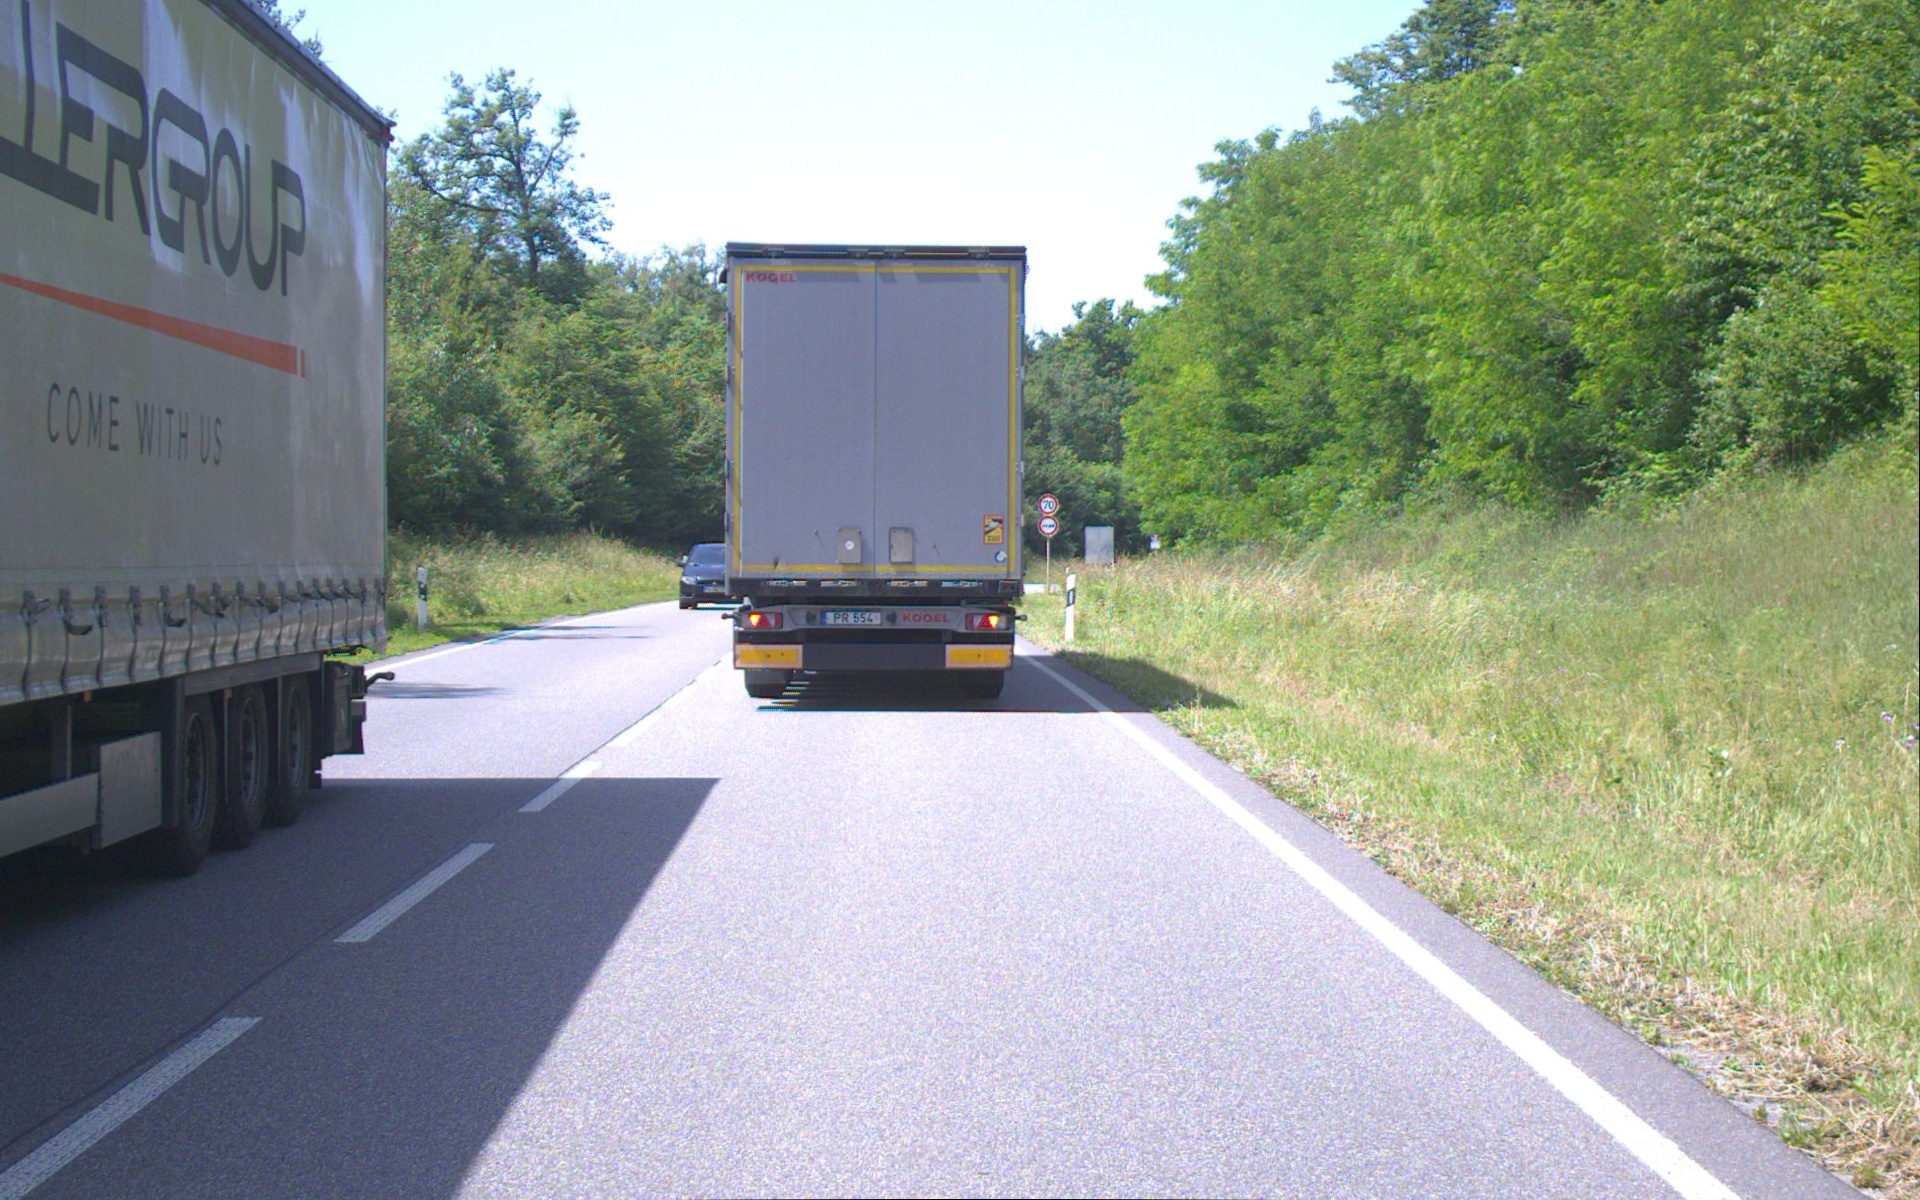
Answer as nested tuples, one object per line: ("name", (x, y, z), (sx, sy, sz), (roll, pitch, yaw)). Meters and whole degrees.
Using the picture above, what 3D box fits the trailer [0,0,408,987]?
("trailer", (-4.666, -0.939, 14.202), (2.941, 4.238, 13.621), (0, 1, -2))

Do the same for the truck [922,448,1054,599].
("truck", (0.903, -2.357, 107.467), (3.793, 4.358, 14.920), (1, 1, 1))

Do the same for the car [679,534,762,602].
("car", (-5.500, -0.756, 79.259), (1.660, 1.490, 3.805), (-1, 1, 0))

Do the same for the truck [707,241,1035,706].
("truck", (-0.894, -1.184, 35.234), (2.761, 3.933, 12.199), (0, 1, -1))
